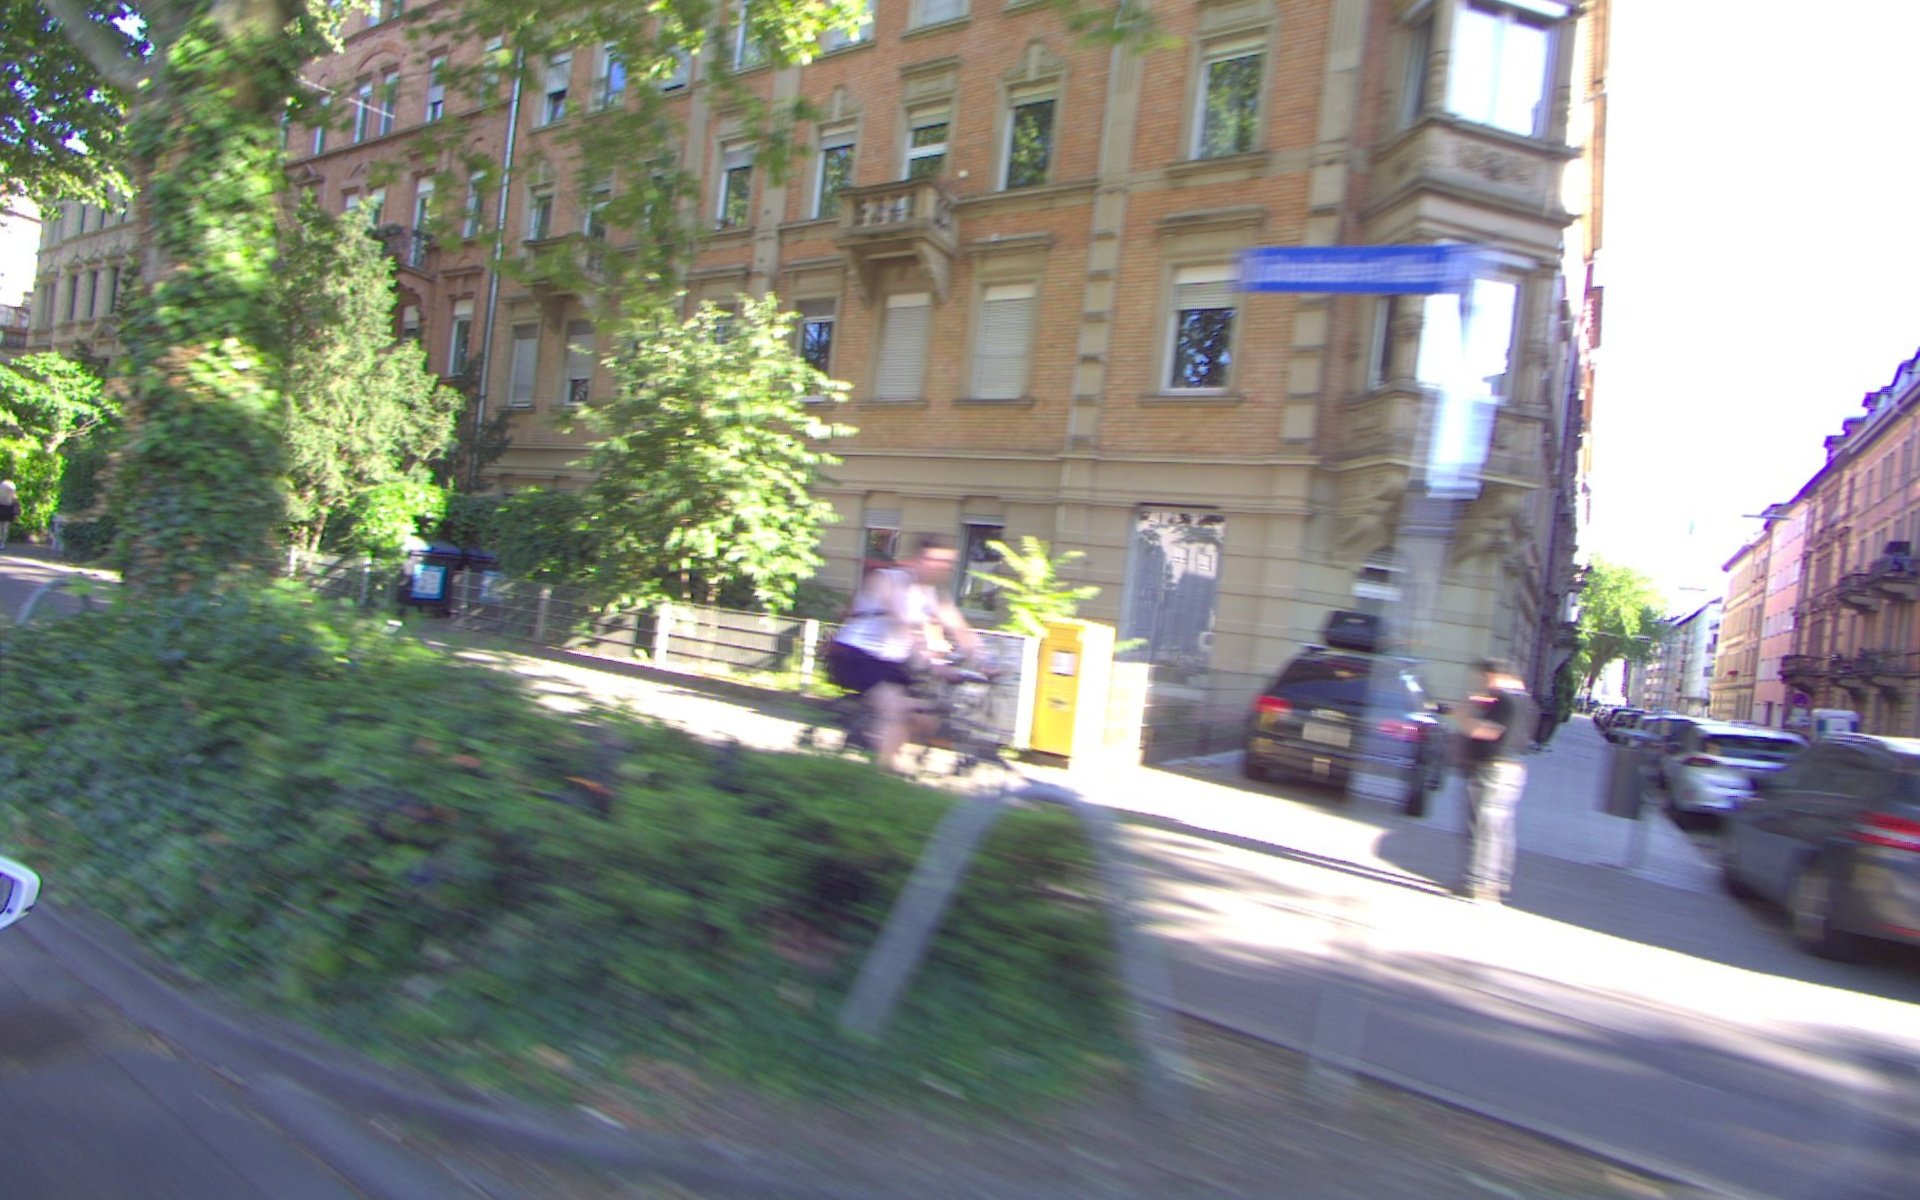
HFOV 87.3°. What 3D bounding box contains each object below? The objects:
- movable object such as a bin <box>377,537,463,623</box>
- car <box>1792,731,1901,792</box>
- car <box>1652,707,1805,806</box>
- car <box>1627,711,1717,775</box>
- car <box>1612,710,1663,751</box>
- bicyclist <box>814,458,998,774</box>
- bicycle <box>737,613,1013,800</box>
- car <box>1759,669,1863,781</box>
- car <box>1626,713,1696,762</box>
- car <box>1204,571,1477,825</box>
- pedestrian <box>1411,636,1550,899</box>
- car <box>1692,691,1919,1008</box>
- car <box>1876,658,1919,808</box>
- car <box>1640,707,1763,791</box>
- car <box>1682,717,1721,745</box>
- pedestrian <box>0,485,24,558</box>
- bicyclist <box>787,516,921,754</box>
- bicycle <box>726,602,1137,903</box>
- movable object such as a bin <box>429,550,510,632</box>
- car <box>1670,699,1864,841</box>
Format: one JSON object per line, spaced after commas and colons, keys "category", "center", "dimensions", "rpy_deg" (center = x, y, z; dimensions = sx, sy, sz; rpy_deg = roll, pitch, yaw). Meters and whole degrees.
{"category": "movable object such as a bin", "center": [-10.078, -0.371, 18.788], "dimensions": [1.066, 1.483, 0.907], "rpy_deg": [5, 0, 31]}
{"category": "car", "center": [29.109, 5.242, 33.160], "dimensions": [1.876, 1.579, 4.178], "rpy_deg": [5, -3, 32]}
{"category": "car", "center": [14.205, 2.847, 18.807], "dimensions": [1.724, 1.435, 3.817], "rpy_deg": [5, -3, 31]}
{"category": "car", "center": [19.335, 3.853, 27.443], "dimensions": [1.725, 1.378, 3.798], "rpy_deg": [5, -3, 33]}
{"category": "car", "center": [30.784, 5.934, 45.805], "dimensions": [1.725, 1.567, 3.798], "rpy_deg": [5, -3, 33]}
{"category": "bicyclist", "center": [-0.298, 0.087, 5.668], "dimensions": [0.633, 1.645, 0.543], "rpy_deg": [8, 0, 31]}
{"category": "bicycle", "center": [-0.642, 0.726, 7.345], "dimensions": [1.898, 1.050, 0.562], "rpy_deg": [6, 1, 26]}
{"category": "car", "center": [32.680, 4.796, 38.794], "dimensions": [1.988, 3.794, 5.517], "rpy_deg": [5, -3, 32]}
{"category": "car", "center": [24.397, 4.761, 35.108], "dimensions": [1.725, 1.378, 3.798], "rpy_deg": [5, -3, 33]}
{"category": "car", "center": [4.377, 1.022, 11.134], "dimensions": [1.966, 2.038, 3.994], "rpy_deg": [9, 0, 30]}
{"category": "pedestrian", "center": [3.439, 1.070, 6.638], "dimensions": [0.597, 1.569, 0.540], "rpy_deg": [8, 1, 31]}
{"category": "car", "center": [6.780, 1.599, 7.234], "dimensions": [1.876, 1.558, 4.552], "rpy_deg": [5, 0, 30]}
{"category": "car", "center": [21.887, 2.971, 21.818], "dimensions": [1.876, 3.237, 4.884], "rpy_deg": [5, -3, 32]}
{"category": "car", "center": [16.692, 3.316, 22.817], "dimensions": [1.724, 1.498, 4.053], "rpy_deg": [5, -3, 31]}
{"category": "car", "center": [48.422, 8.565, 65.752], "dimensions": [1.725, 1.567, 3.798], "rpy_deg": [5, -3, 33]}
{"category": "pedestrian", "center": [-22.391, -1.860, 23.505], "dimensions": [0.607, 1.648, 0.530], "rpy_deg": [7, 1, 33]}
{"category": "bicyclist", "center": [-0.775, 0.255, 7.445], "dimensions": [0.633, 1.645, 0.544], "rpy_deg": [6, 0, 26]}
{"category": "bicycle", "center": [-0.226, 0.749, 5.576], "dimensions": [2.189, 1.192, 0.561], "rpy_deg": [8, 0, 31]}
{"category": "movable object such as a bin", "center": [-9.602, -0.170, 19.702], "dimensions": [1.066, 1.483, 0.907], "rpy_deg": [5, 0, 31]}
{"category": "car", "center": [11.530, 2.363, 14.617], "dimensions": [1.726, 1.561, 3.815], "rpy_deg": [5, -3, 34]}
